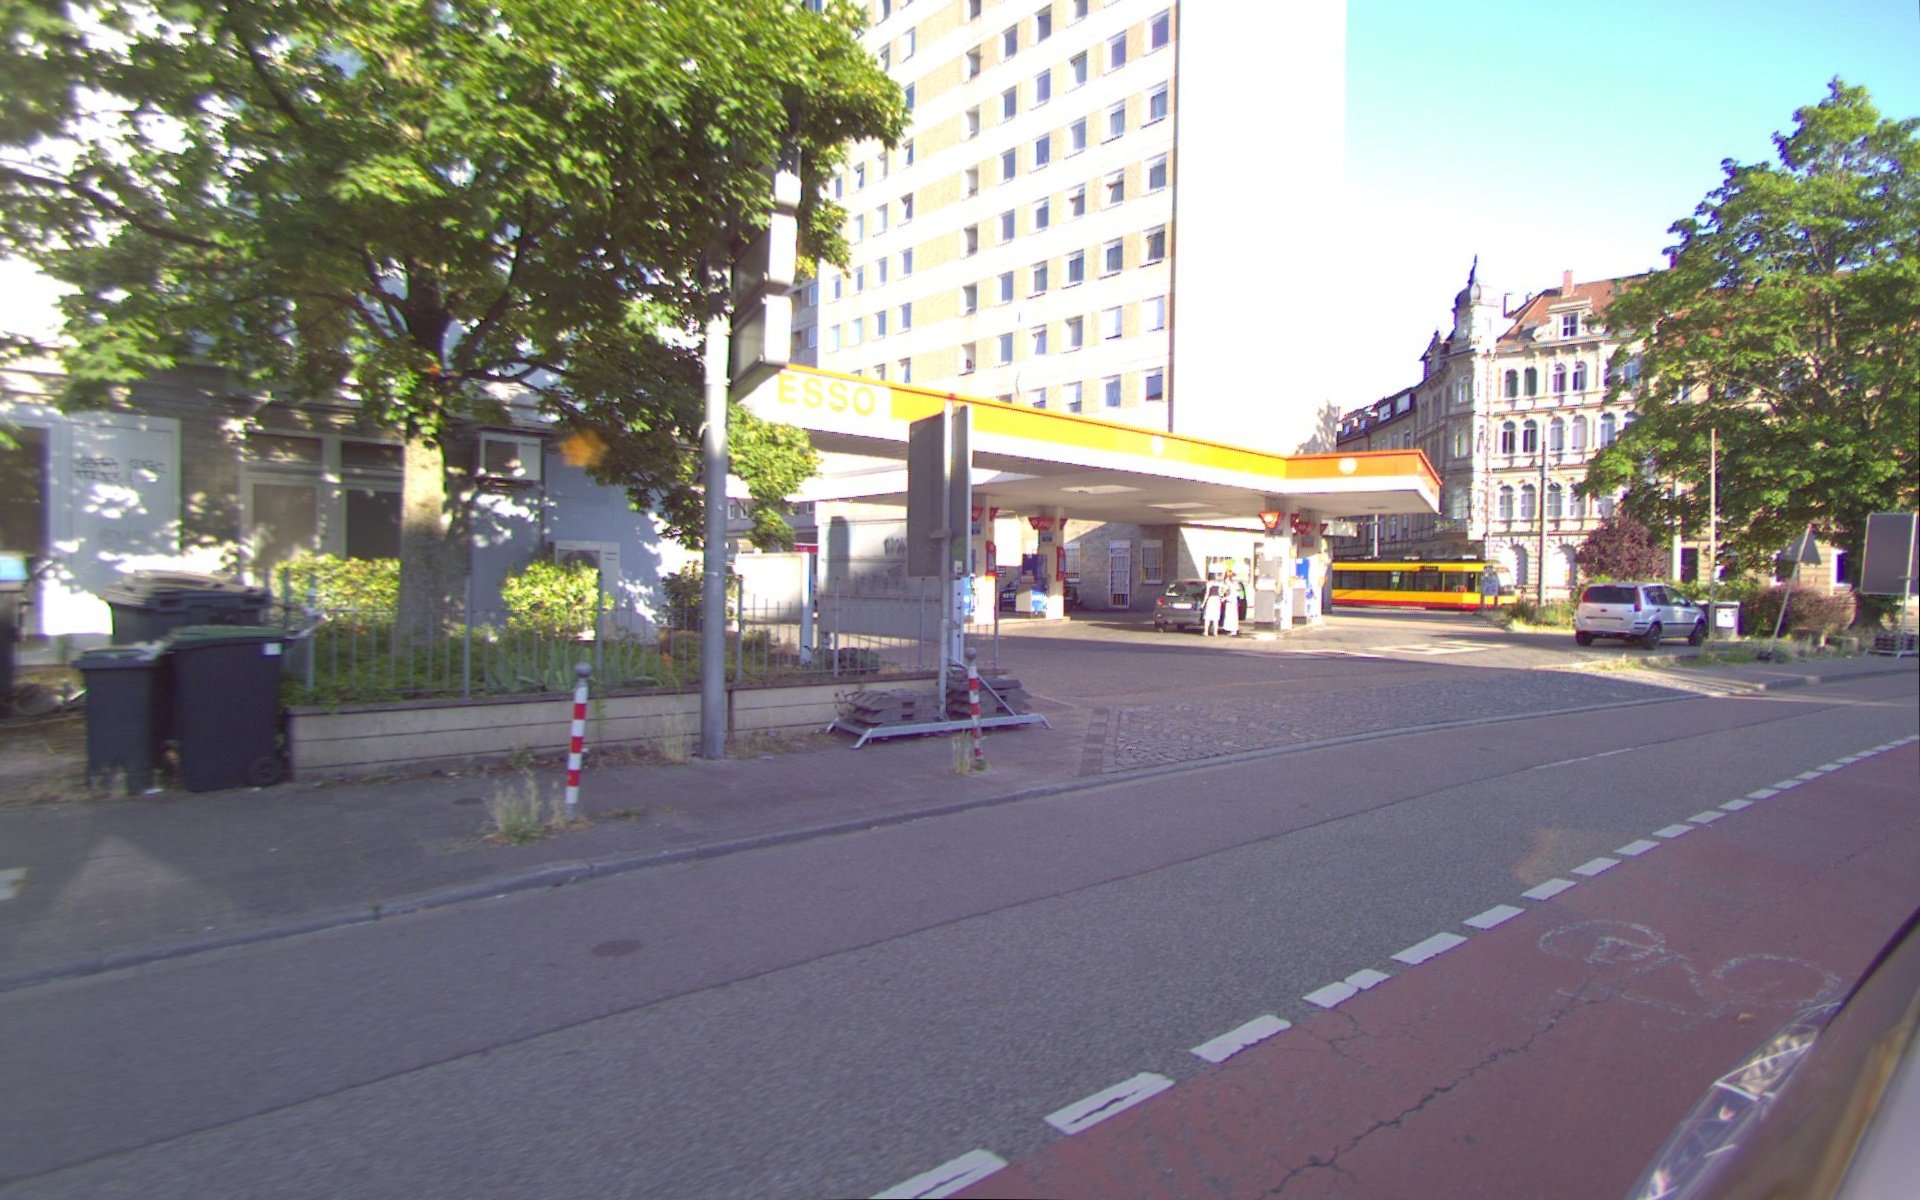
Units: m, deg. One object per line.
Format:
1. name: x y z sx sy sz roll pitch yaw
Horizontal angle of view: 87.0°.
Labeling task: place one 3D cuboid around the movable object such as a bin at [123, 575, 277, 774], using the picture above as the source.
1. movable object such as a bin: -5.519 0.491 7.345 0.850 1.325 0.779 0 1 -41

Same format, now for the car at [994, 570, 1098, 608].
1. car: 3.494 -0.468 41.501 1.965 1.467 3.994 0 2 -41

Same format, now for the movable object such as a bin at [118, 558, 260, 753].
1. movable object such as a bin: -6.362 0.383 8.320 0.850 1.427 1.611 0 1 -40

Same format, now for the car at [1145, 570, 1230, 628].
1. car: 6.290 -0.087 27.738 1.574 1.457 3.274 2 2 25

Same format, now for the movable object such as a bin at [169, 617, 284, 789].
1. movable object such as a bin: -4.961 0.660 6.854 0.605 1.059 0.621 0 1 -37

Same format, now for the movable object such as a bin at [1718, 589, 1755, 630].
1. movable object such as a bin: 20.221 0.251 26.355 0.661 1.042 0.573 0 1 -36

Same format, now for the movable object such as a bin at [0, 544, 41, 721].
1. movable object such as a bin: -8.661 0.240 8.501 1.255 1.438 1.199 1 2 -37

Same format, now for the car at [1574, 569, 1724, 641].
1. car: 16.613 0.085 24.358 3.818 1.613 1.626 0 2 -33

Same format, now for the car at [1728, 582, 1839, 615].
1. car: 43.961 -0.122 54.088 4.450 1.634 1.793 2 2 43

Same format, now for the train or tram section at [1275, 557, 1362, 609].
1. train or tram section: 25.544 -1.256 72.287 2.812 3.551 5.311 0 1 -28

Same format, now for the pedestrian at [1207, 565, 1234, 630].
1. pedestrian: 6.689 -0.072 25.988 0.529 1.641 0.563 1 1 27

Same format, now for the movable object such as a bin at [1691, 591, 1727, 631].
1. movable object such as a bin: 19.977 0.290 26.994 0.661 1.042 0.573 0 1 -36

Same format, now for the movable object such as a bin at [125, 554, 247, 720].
1. movable object such as a bin: -7.328 0.291 9.554 0.850 1.427 1.408 0 2 -40

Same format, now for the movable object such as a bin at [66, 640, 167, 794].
1. movable object such as a bin: -5.453 0.738 6.560 0.481 0.918 0.394 0 1 -37

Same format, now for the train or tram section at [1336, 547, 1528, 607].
1. train or tram section: 30.085 -1.511 65.267 2.815 3.551 11.299 0 2 -35

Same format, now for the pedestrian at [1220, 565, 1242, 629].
1. pedestrian: 7.099 -0.085 26.531 0.526 1.641 0.566 1 1 14
